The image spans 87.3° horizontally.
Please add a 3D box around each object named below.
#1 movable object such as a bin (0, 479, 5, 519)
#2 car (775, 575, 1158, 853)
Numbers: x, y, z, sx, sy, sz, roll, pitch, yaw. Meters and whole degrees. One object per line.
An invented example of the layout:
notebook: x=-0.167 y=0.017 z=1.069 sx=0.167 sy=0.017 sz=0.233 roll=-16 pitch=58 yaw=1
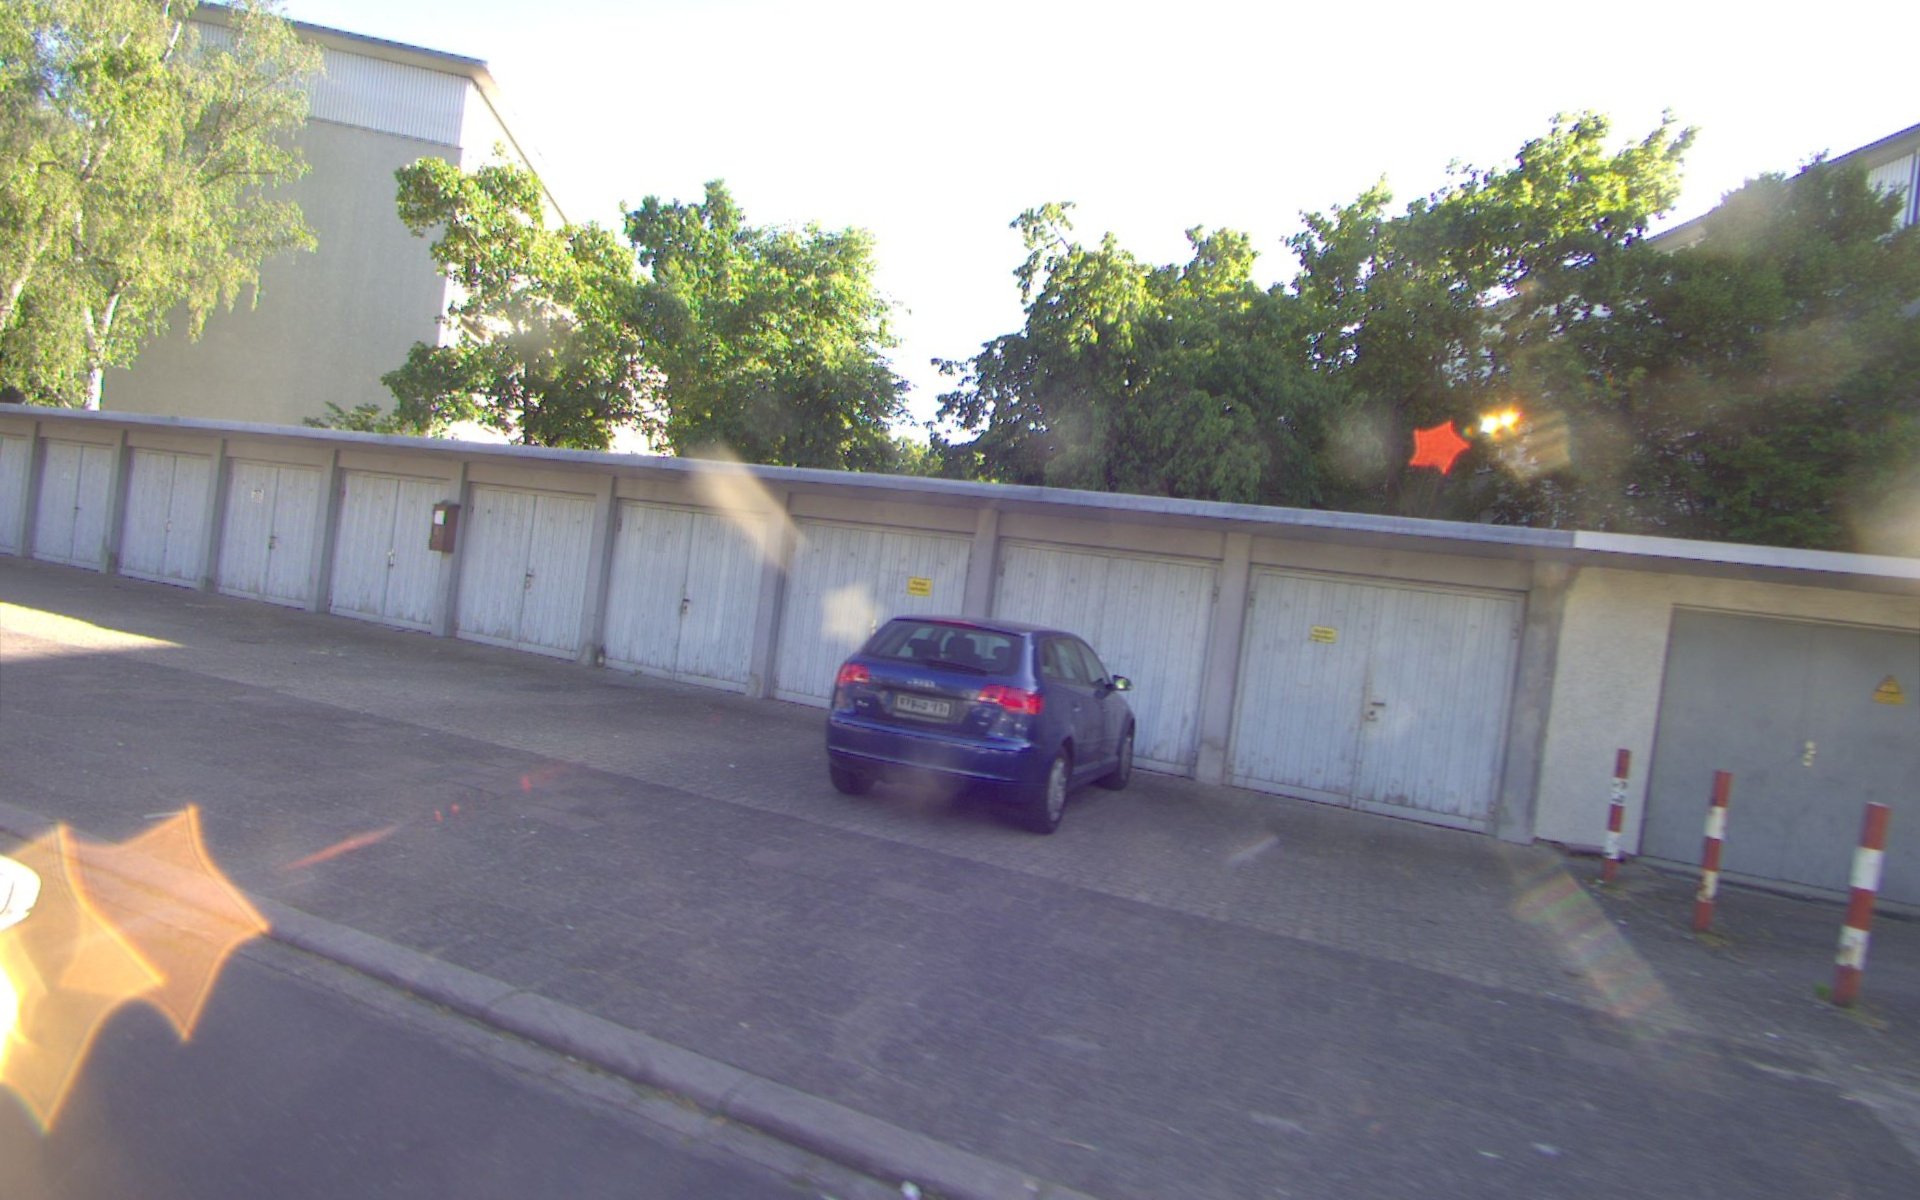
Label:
movable object such as a bin: x=-21.239 y=-1.956 z=21.136 sx=1.113 sy=1.484 sz=1.279 roll=12 pitch=2 yaw=26
car: x=0.370 y=0.828 z=8.461 sx=1.784 sy=1.512 sz=4.198 roll=8 pitch=-1 yaw=20
